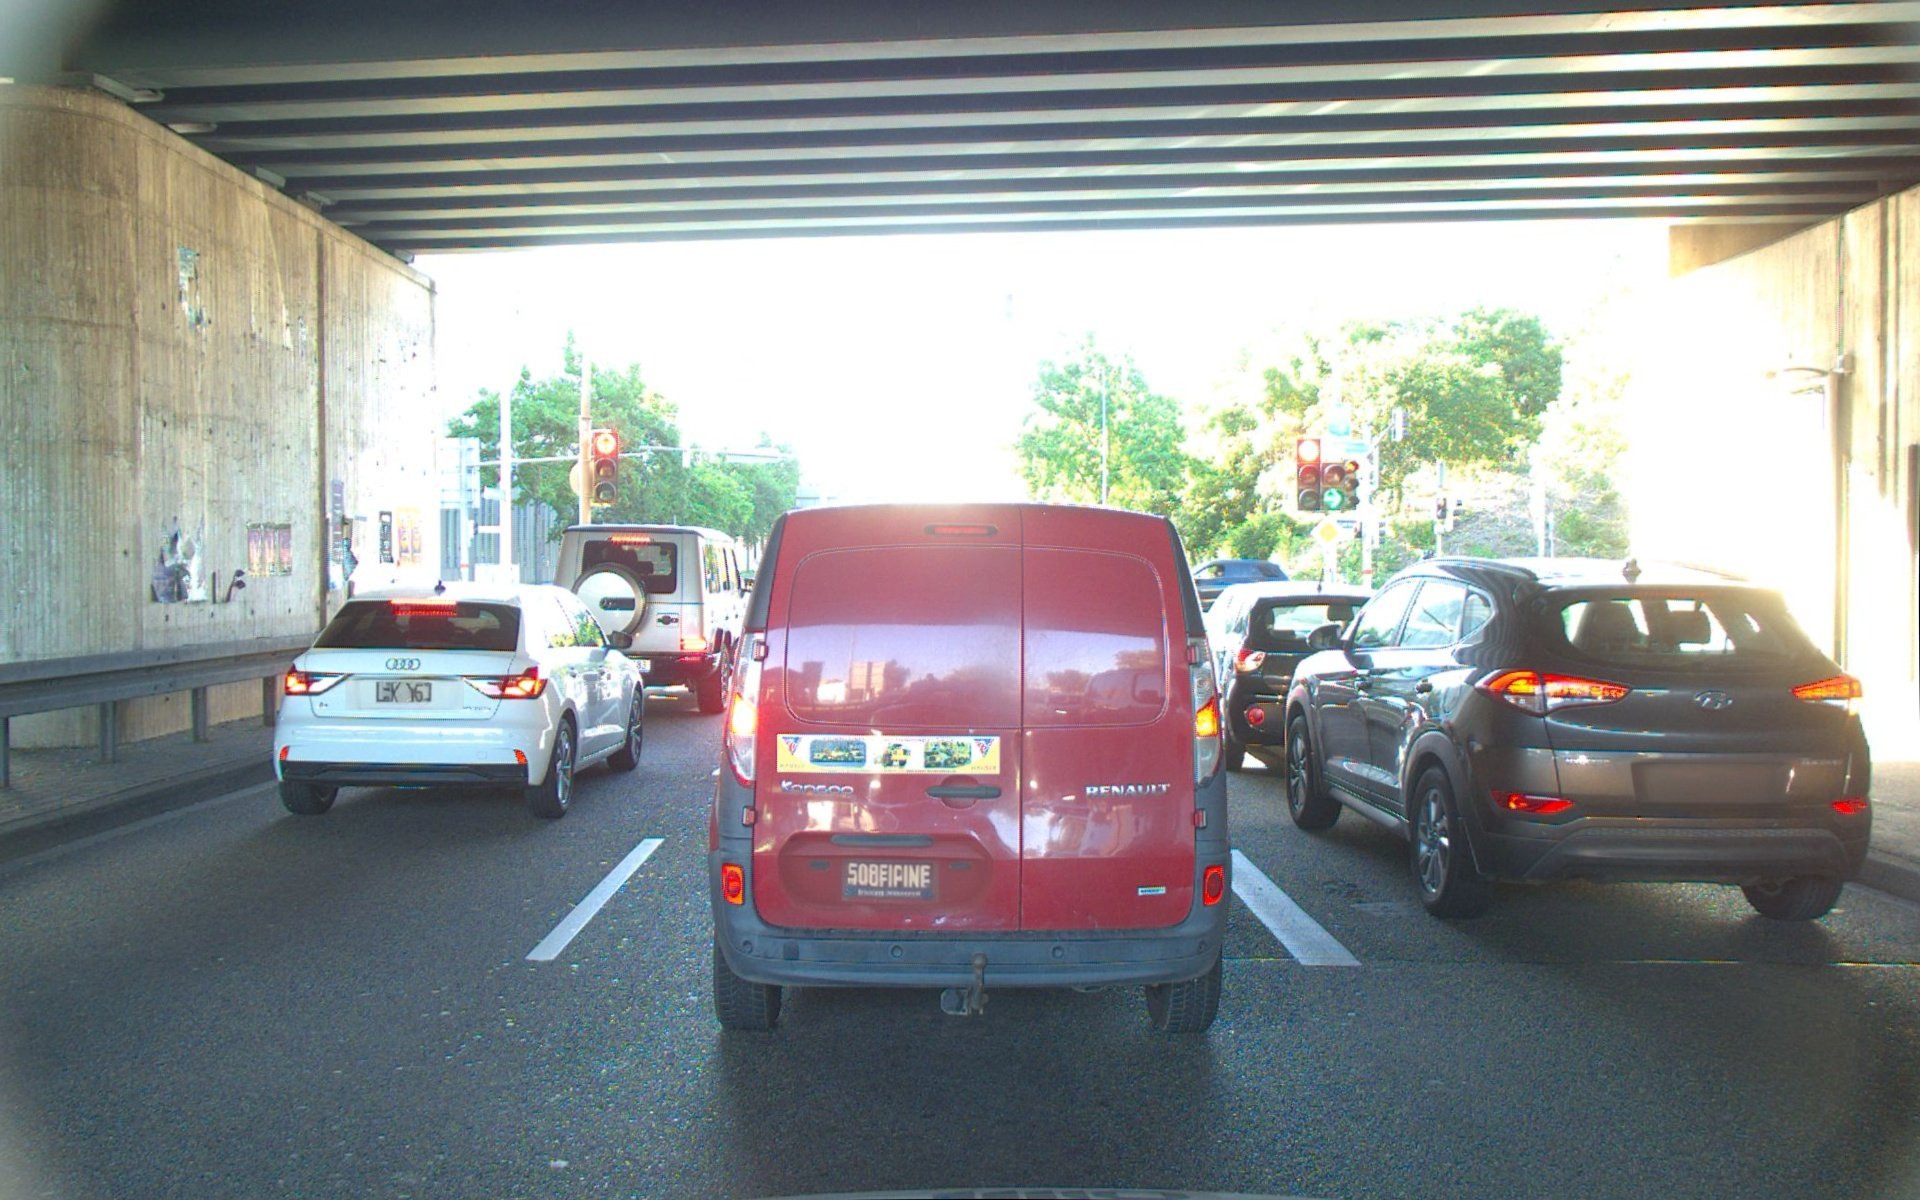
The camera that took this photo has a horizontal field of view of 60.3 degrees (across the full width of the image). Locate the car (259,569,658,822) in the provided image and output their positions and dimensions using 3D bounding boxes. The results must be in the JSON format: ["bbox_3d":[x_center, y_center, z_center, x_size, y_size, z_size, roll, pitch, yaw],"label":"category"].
[{"bbox_3d":[-3.235,0.536,11.433,1.658,1.434,3.812,1,0,-2],"label":"car"}]

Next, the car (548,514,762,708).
[{"bbox_3d":[-3.330,0.097,18.732,1.777,1.937,3.812,1,0,-2],"label":"car"}]

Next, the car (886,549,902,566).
[{"bbox_3d":[-8.635,-5.628,217.858,1.953,2.049,3.999,1,0,-1],"label":"car"}]

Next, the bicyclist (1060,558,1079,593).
[{"bbox_3d":[4.318,-0.957,65.163,0.640,1.352,0.602,1,0,-4],"label":"bicyclist"}]

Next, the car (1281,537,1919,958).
[{"bbox_3d":[3.041,0.582,8.730,1.742,1.684,3.989,1,1,-2],"label":"car"}]

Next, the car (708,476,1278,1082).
[{"bbox_3d":[0.074,0.525,6.968,1.684,1.795,3.999,1,0,-1],"label":"car"}]

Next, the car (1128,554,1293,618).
[{"bbox_3d":[6.884,-0.375,45.783,4.257,1.635,2.000,1,0,1],"label":"car"}]

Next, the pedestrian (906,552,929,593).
[{"bbox_3d":[-1.644,-1.049,63.815,0.820,1.581,0.556,0,0,-7],"label":"pedestrian"}]

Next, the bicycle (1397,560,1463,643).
[{"bbox_3d":[6.190,0.027,21.828,0.662,1.042,1.530,1,0,10],"label":"bicycle"}]

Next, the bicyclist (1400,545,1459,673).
[{"bbox_3d":[6.192,0.113,21.835,0.663,1.657,0.644,1,0,10],"label":"bicyclist"}]

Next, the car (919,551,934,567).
[{"bbox_3d":[-4.509,-5.492,220.632,1.953,2.049,3.999,1,0,-1],"label":"car"}]

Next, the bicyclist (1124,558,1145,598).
[{"bbox_3d":[6.794,-0.849,64.293,0.739,1.569,0.696,0,0,0],"label":"bicyclist"}]

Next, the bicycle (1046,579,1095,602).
[{"bbox_3d":[4.352,-0.361,65.163,1.875,0.882,0.605,0,0,-5],"label":"bicycle"}]

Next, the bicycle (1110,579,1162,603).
[{"bbox_3d":[6.839,-0.351,64.306,1.913,0.889,0.699,0,0,-1],"label":"bicycle"}]

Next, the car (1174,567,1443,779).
[{"bbox_3d":[2.928,0.523,14.646,1.618,1.579,3.865,1,1,1],"label":"car"}]
